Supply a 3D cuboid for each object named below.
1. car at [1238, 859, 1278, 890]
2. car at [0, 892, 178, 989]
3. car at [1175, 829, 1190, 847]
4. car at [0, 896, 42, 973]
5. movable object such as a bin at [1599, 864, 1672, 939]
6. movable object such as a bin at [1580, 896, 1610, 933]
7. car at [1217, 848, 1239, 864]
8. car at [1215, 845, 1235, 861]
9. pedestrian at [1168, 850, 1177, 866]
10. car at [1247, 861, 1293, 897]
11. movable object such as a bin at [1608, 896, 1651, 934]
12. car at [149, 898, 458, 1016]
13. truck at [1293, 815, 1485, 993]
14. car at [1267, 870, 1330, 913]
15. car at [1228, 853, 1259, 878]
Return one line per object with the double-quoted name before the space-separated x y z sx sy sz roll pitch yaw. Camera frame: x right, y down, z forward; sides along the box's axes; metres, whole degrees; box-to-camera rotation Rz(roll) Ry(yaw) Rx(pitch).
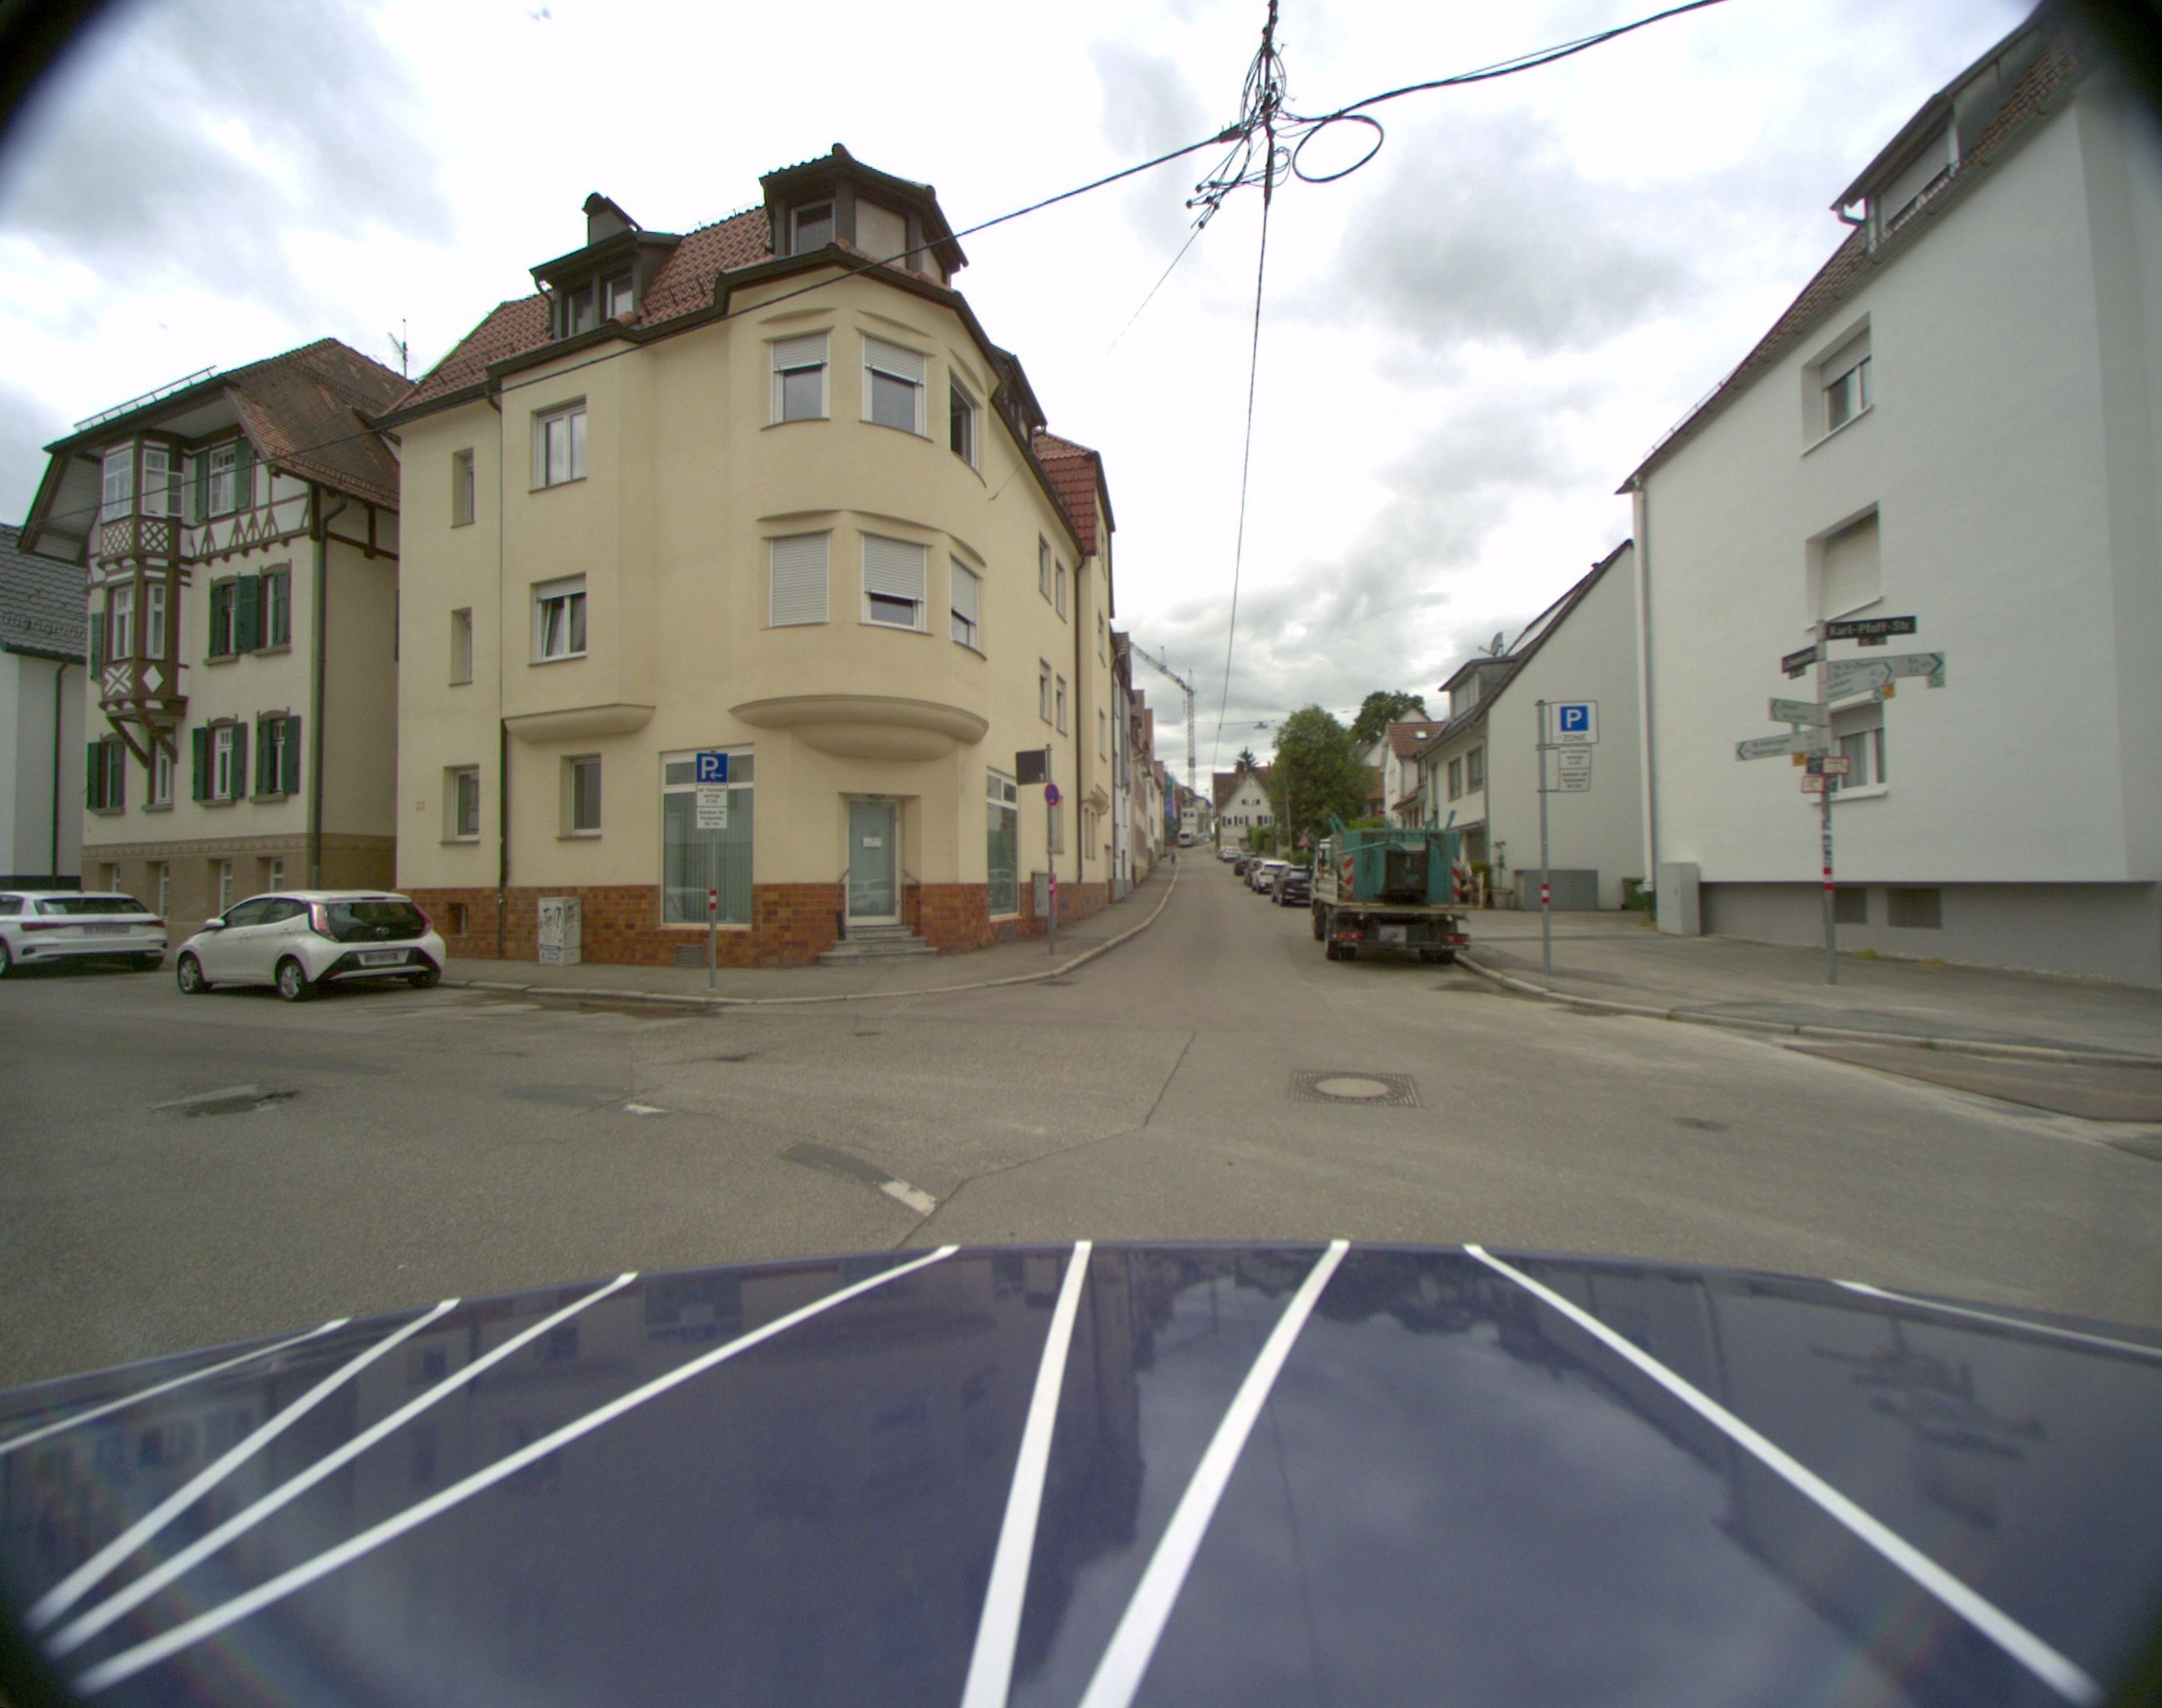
"car" 10.301 1.143 44.465 1.853 1.641 3.947 0 1 7
"car" -18.447 1.432 13.406 4.360 1.423 1.761 0 -3 20
"car" 15.832 -2.514 118.642 2.192 2.631 5.828 0 2 8
"car" -23.025 1.549 15.035 4.359 1.446 1.761 0 -3 21
"movable object such as a bin" 12.313 1.033 16.916 1.009 1.608 1.003 0 0 13
"movable object such as a bin" 15.521 1.808 22.957 0.566 1.050 0.816 0 -1 21
"car" 14.288 0.180 73.967 1.853 1.441 3.947 0 1 7
"car" 15.113 -0.138 80.017 1.853 1.442 3.946 0 3 7
"pedestrian" 8.410 0.370 69.959 0.756 1.480 0.566 -1 1 -5
"car" 9.326 1.211 37.693 1.853 1.641 3.949 0 0 9
"movable object such as a bin" 16.389 1.802 22.733 0.856 1.050 0.893 0 -1 21
"car" -11.240 1.377 11.009 3.807 1.425 1.675 -1 -2 20
"truck" 5.312 0.766 14.144 2.314 2.536 6.295 0 -1 13
"car" 8.253 1.379 29.104 1.853 1.455 3.949 0 0 9
"car" 11.828 0.797 55.482 1.853 1.641 3.947 0 1 7
